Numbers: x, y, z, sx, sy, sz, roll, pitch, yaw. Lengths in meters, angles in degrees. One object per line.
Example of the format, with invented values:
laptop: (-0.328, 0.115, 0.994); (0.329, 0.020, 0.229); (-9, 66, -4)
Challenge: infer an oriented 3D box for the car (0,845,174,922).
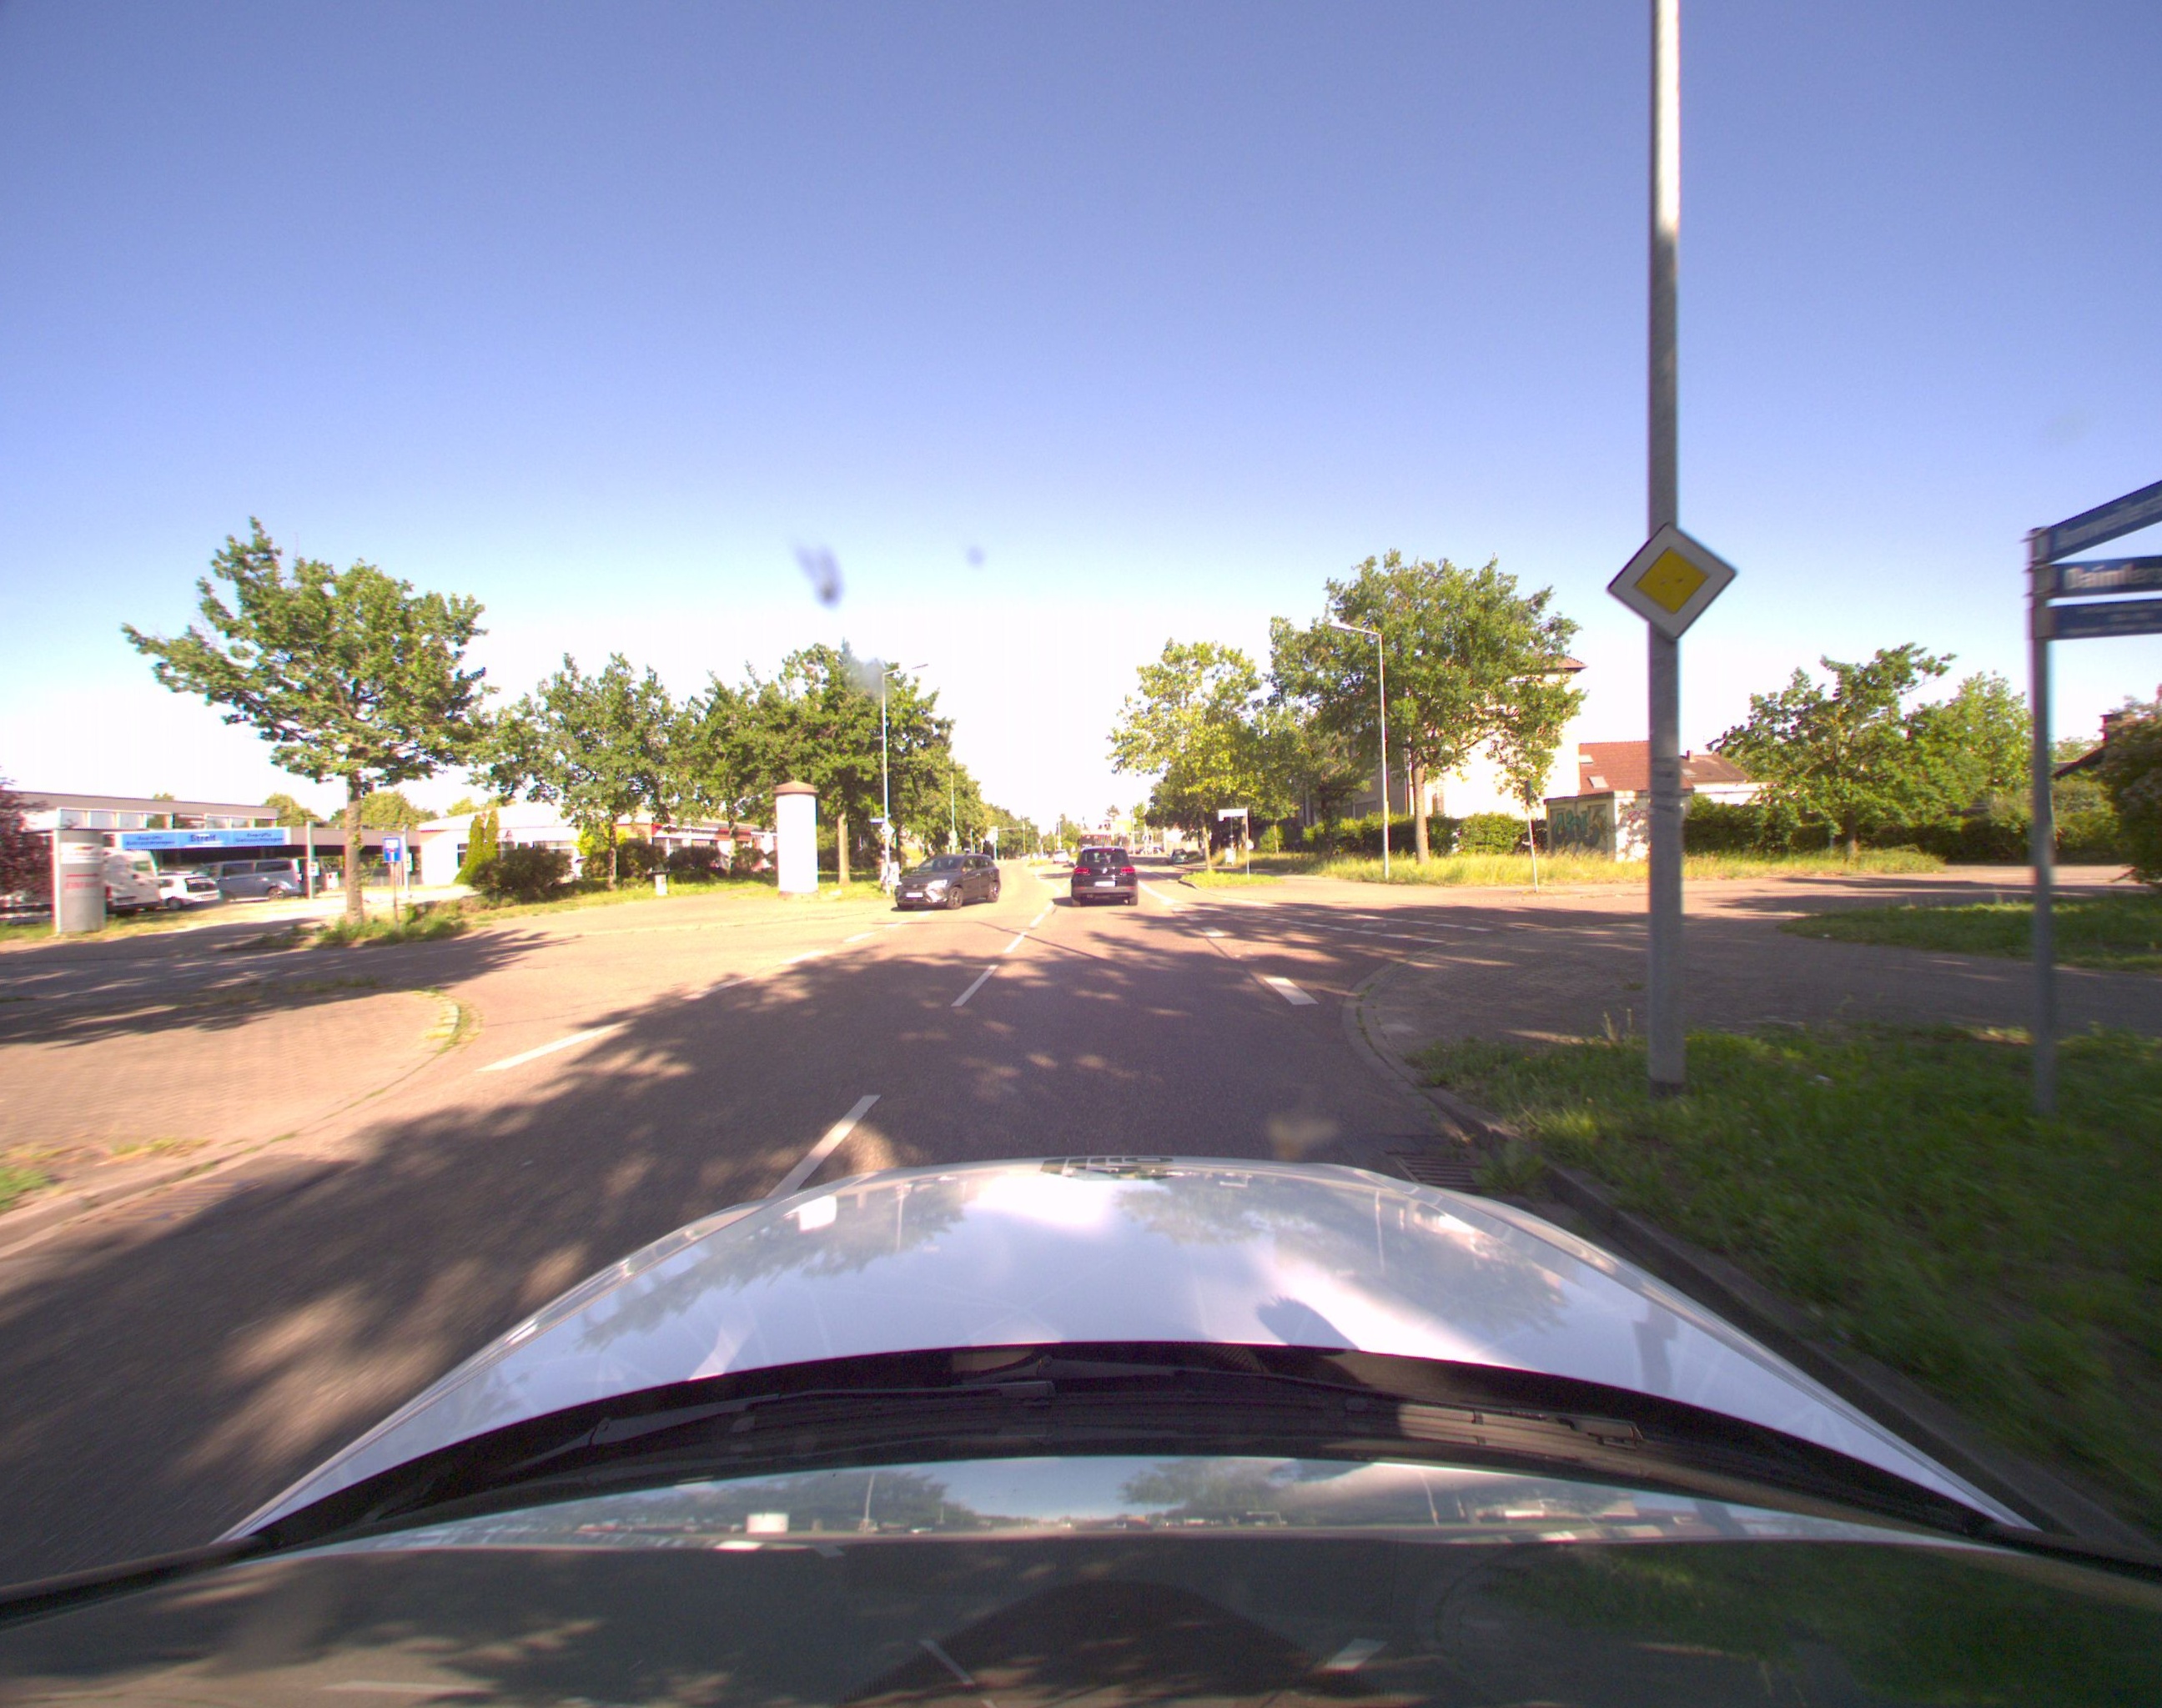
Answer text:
car: (-37.928, 1.060, 29.940); (6.148, 2.703, 2.297); (0, -1, -5)

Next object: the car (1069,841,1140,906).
car: (0.679, 0.531, 23.462); (1.814, 1.673, 4.004); (-2, -1, 2)

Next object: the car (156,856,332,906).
car: (-38.471, 1.198, 37.569); (5.399, 2.070, 2.297); (-2, 0, -5)

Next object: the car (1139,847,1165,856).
car: (11.361, -0.374, 130.215); (3.891, 1.340, 1.677); (0, -1, -9)

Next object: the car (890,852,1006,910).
car: (-3.913, 0.757, 24.768); (1.740, 1.595, 4.318); (-2, -1, 17)

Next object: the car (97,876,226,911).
car: (-39.087, 1.659, 34.684); (3.515, 1.302, 1.573); (-1, 0, -4)

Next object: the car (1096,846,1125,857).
car: (3.732, -0.321, 103.569); (3.502, 1.302, 1.578); (-1, 0, 8)

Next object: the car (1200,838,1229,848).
car: (21.495, -1.769, 131.272); (4.376, 1.683, 1.709); (0, -1, -5)

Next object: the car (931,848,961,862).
car: (-18.931, 0.115, 113.998); (3.980, 1.880, 1.997); (0, -1, -5)

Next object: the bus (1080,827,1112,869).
bus: (1.216, -0.528, 72.102); (2.588, 3.334, 11.981); (0, 0, 0)

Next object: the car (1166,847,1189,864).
car: (8.594, 0.157, 72.767); (1.587, 1.428, 4.204); (-3, 0, 1)

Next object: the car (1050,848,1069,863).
car: (-2.413, 0.173, 91.200); (1.752, 1.620, 4.024); (-2, 0, -6)

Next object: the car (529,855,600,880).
car: (-34.025, 0.890, 53.708); (3.591, 1.498, 1.590); (-2, -1, -6)
